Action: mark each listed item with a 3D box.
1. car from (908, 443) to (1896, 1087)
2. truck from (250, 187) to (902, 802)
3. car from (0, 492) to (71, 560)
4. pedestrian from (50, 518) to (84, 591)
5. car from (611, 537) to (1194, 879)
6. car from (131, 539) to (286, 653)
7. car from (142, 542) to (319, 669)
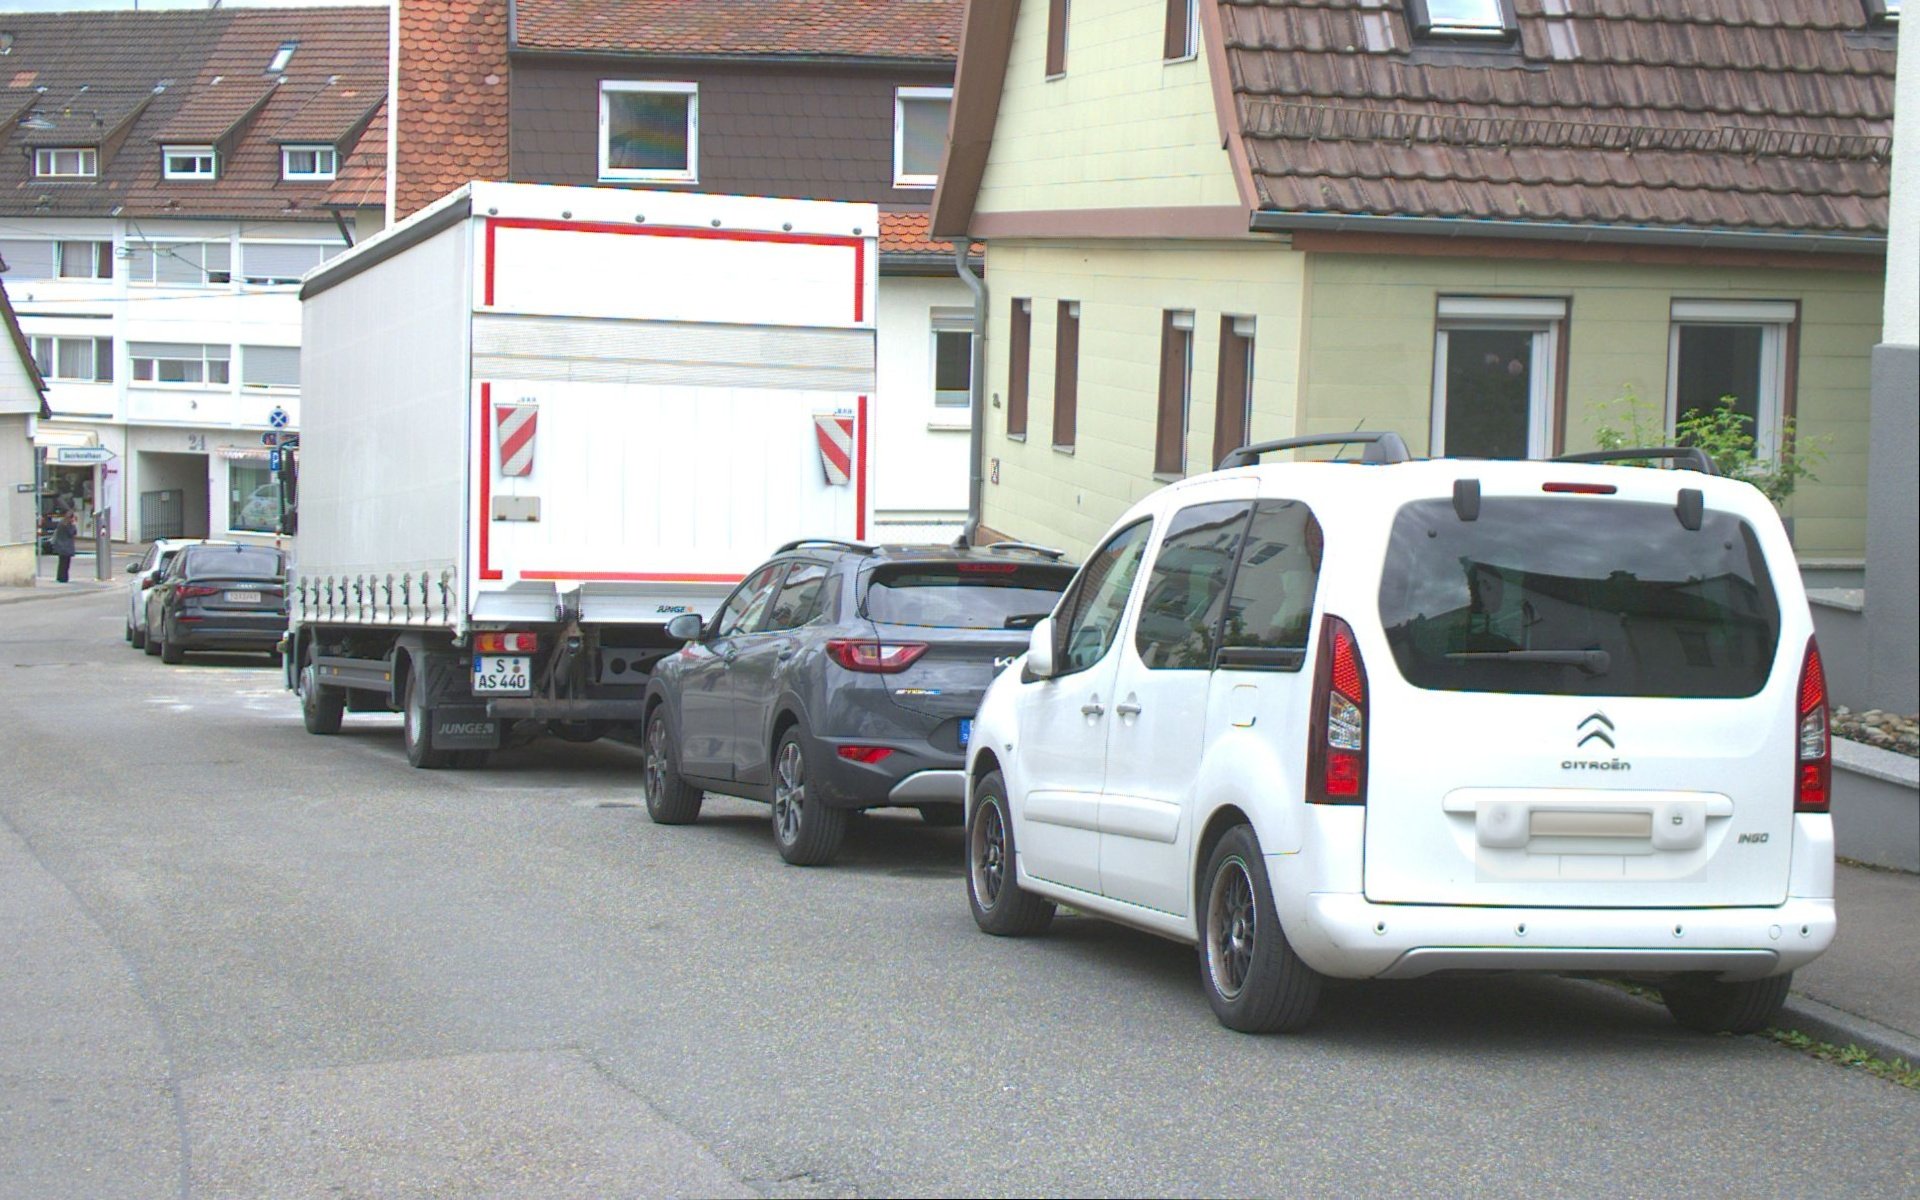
[{"bbox_3d":[1.274,0.448,11.970,1.834,1.808,4.305,1,1,-16],"label":"car"},{"bbox_3d":[-3.035,-0.691,24.317,2.675,3.585,8.108,1,1,-20],"label":"truck"},{"bbox_3d":[-26.726,-2.059,94.217,4.361,1.773,1.945,2,3,26],"label":"car"},{"bbox_3d":[-20.755,-1.052,79.920,0.646,1.679,0.604,0,3,-27],"label":"pedestrian"},{"bbox_3d":[-0.429,0.476,17.241,1.732,1.501,4.052,2,0,-19],"label":"car"},{"bbox_3d":[-10.284,-0.090,46.861,1.794,1.440,4.299,2,1,-15],"label":"car"},{"bbox_3d":[-8.885,0.034,41.660,1.673,1.404,4.053,2,0,-18],"label":"car"}]
